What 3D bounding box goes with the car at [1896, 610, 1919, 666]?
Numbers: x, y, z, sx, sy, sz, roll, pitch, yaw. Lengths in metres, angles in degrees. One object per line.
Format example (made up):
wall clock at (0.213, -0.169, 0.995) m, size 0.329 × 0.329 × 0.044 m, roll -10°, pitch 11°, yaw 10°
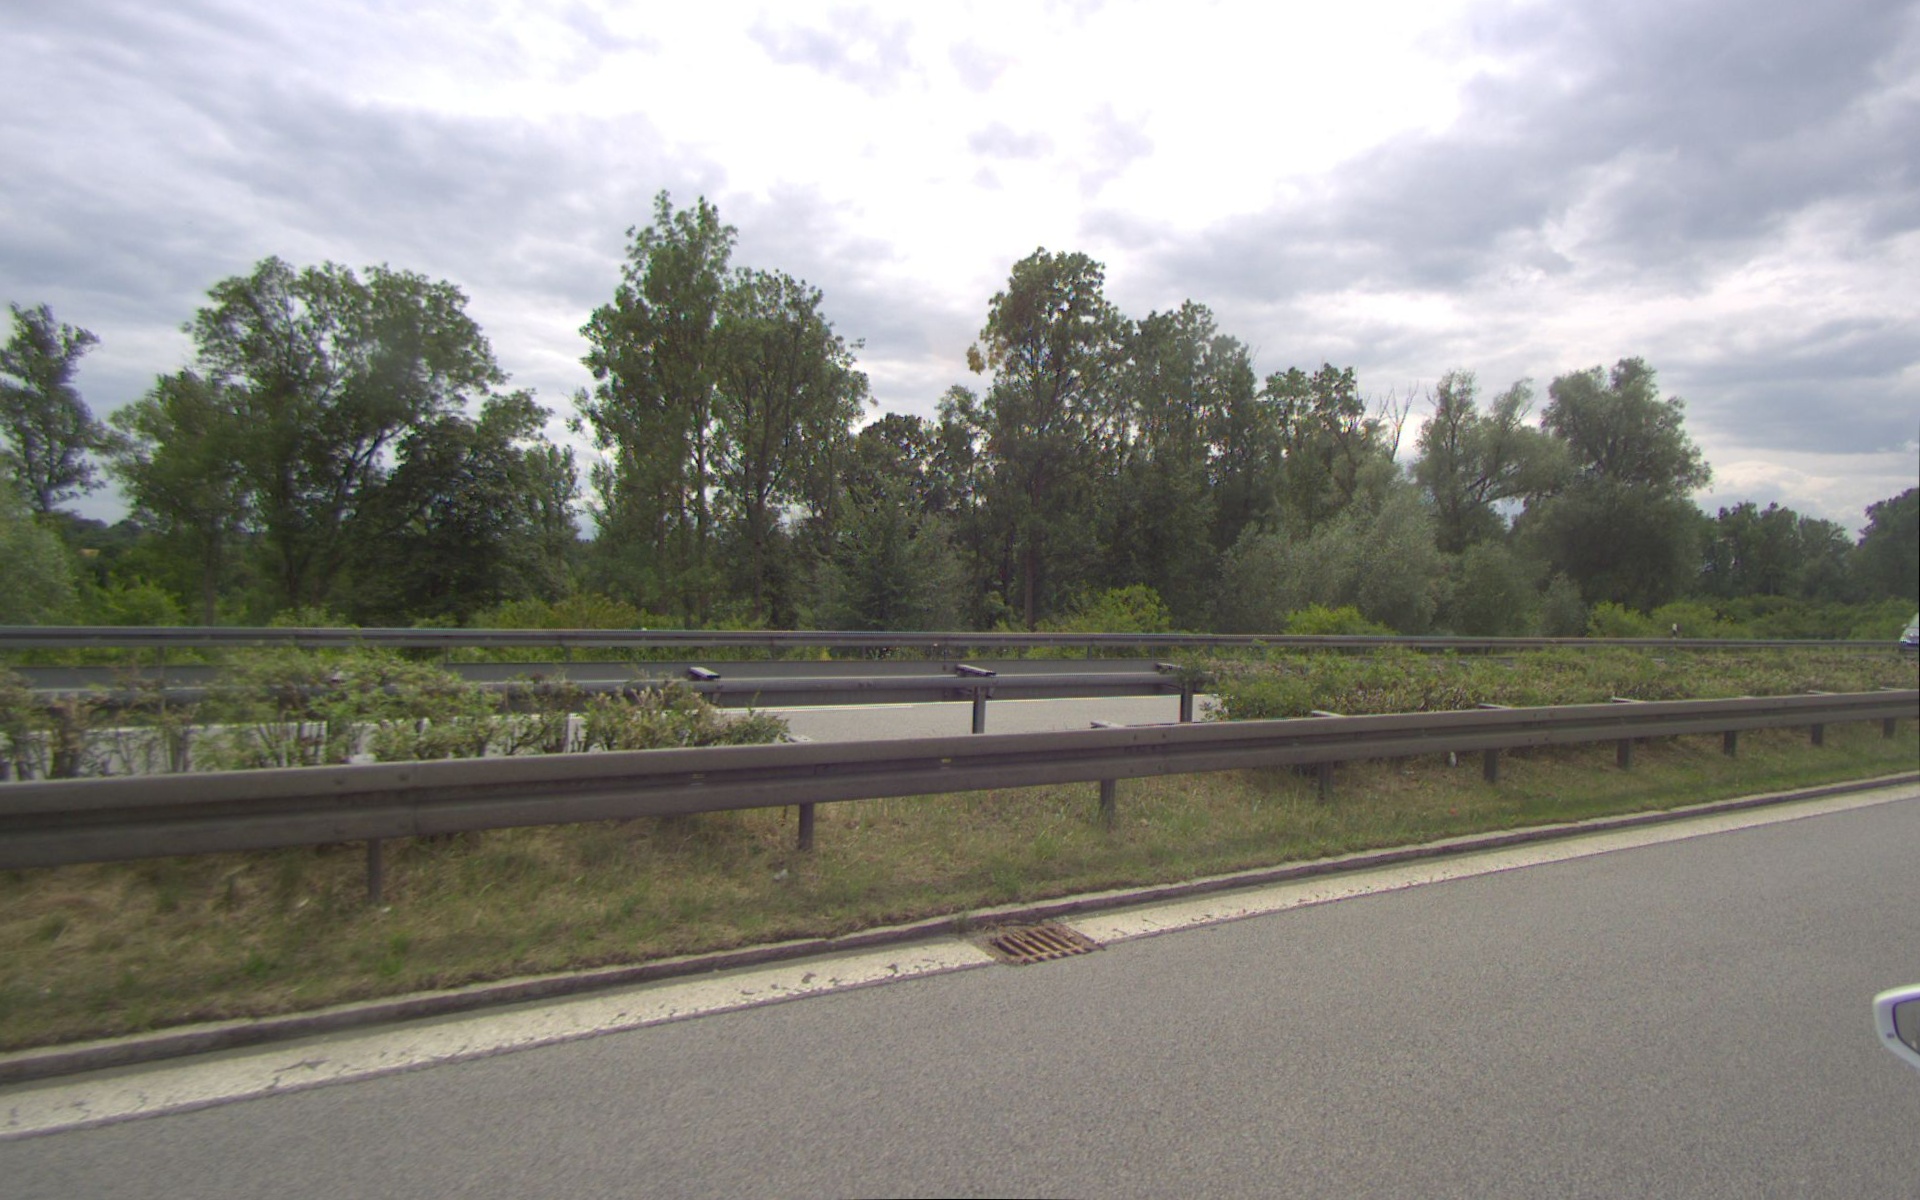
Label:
car at (35.266, 1.356, 35.529) m, size 5.166 × 1.909 × 1.692 m, roll 1°, pitch 0°, yaw -30°
